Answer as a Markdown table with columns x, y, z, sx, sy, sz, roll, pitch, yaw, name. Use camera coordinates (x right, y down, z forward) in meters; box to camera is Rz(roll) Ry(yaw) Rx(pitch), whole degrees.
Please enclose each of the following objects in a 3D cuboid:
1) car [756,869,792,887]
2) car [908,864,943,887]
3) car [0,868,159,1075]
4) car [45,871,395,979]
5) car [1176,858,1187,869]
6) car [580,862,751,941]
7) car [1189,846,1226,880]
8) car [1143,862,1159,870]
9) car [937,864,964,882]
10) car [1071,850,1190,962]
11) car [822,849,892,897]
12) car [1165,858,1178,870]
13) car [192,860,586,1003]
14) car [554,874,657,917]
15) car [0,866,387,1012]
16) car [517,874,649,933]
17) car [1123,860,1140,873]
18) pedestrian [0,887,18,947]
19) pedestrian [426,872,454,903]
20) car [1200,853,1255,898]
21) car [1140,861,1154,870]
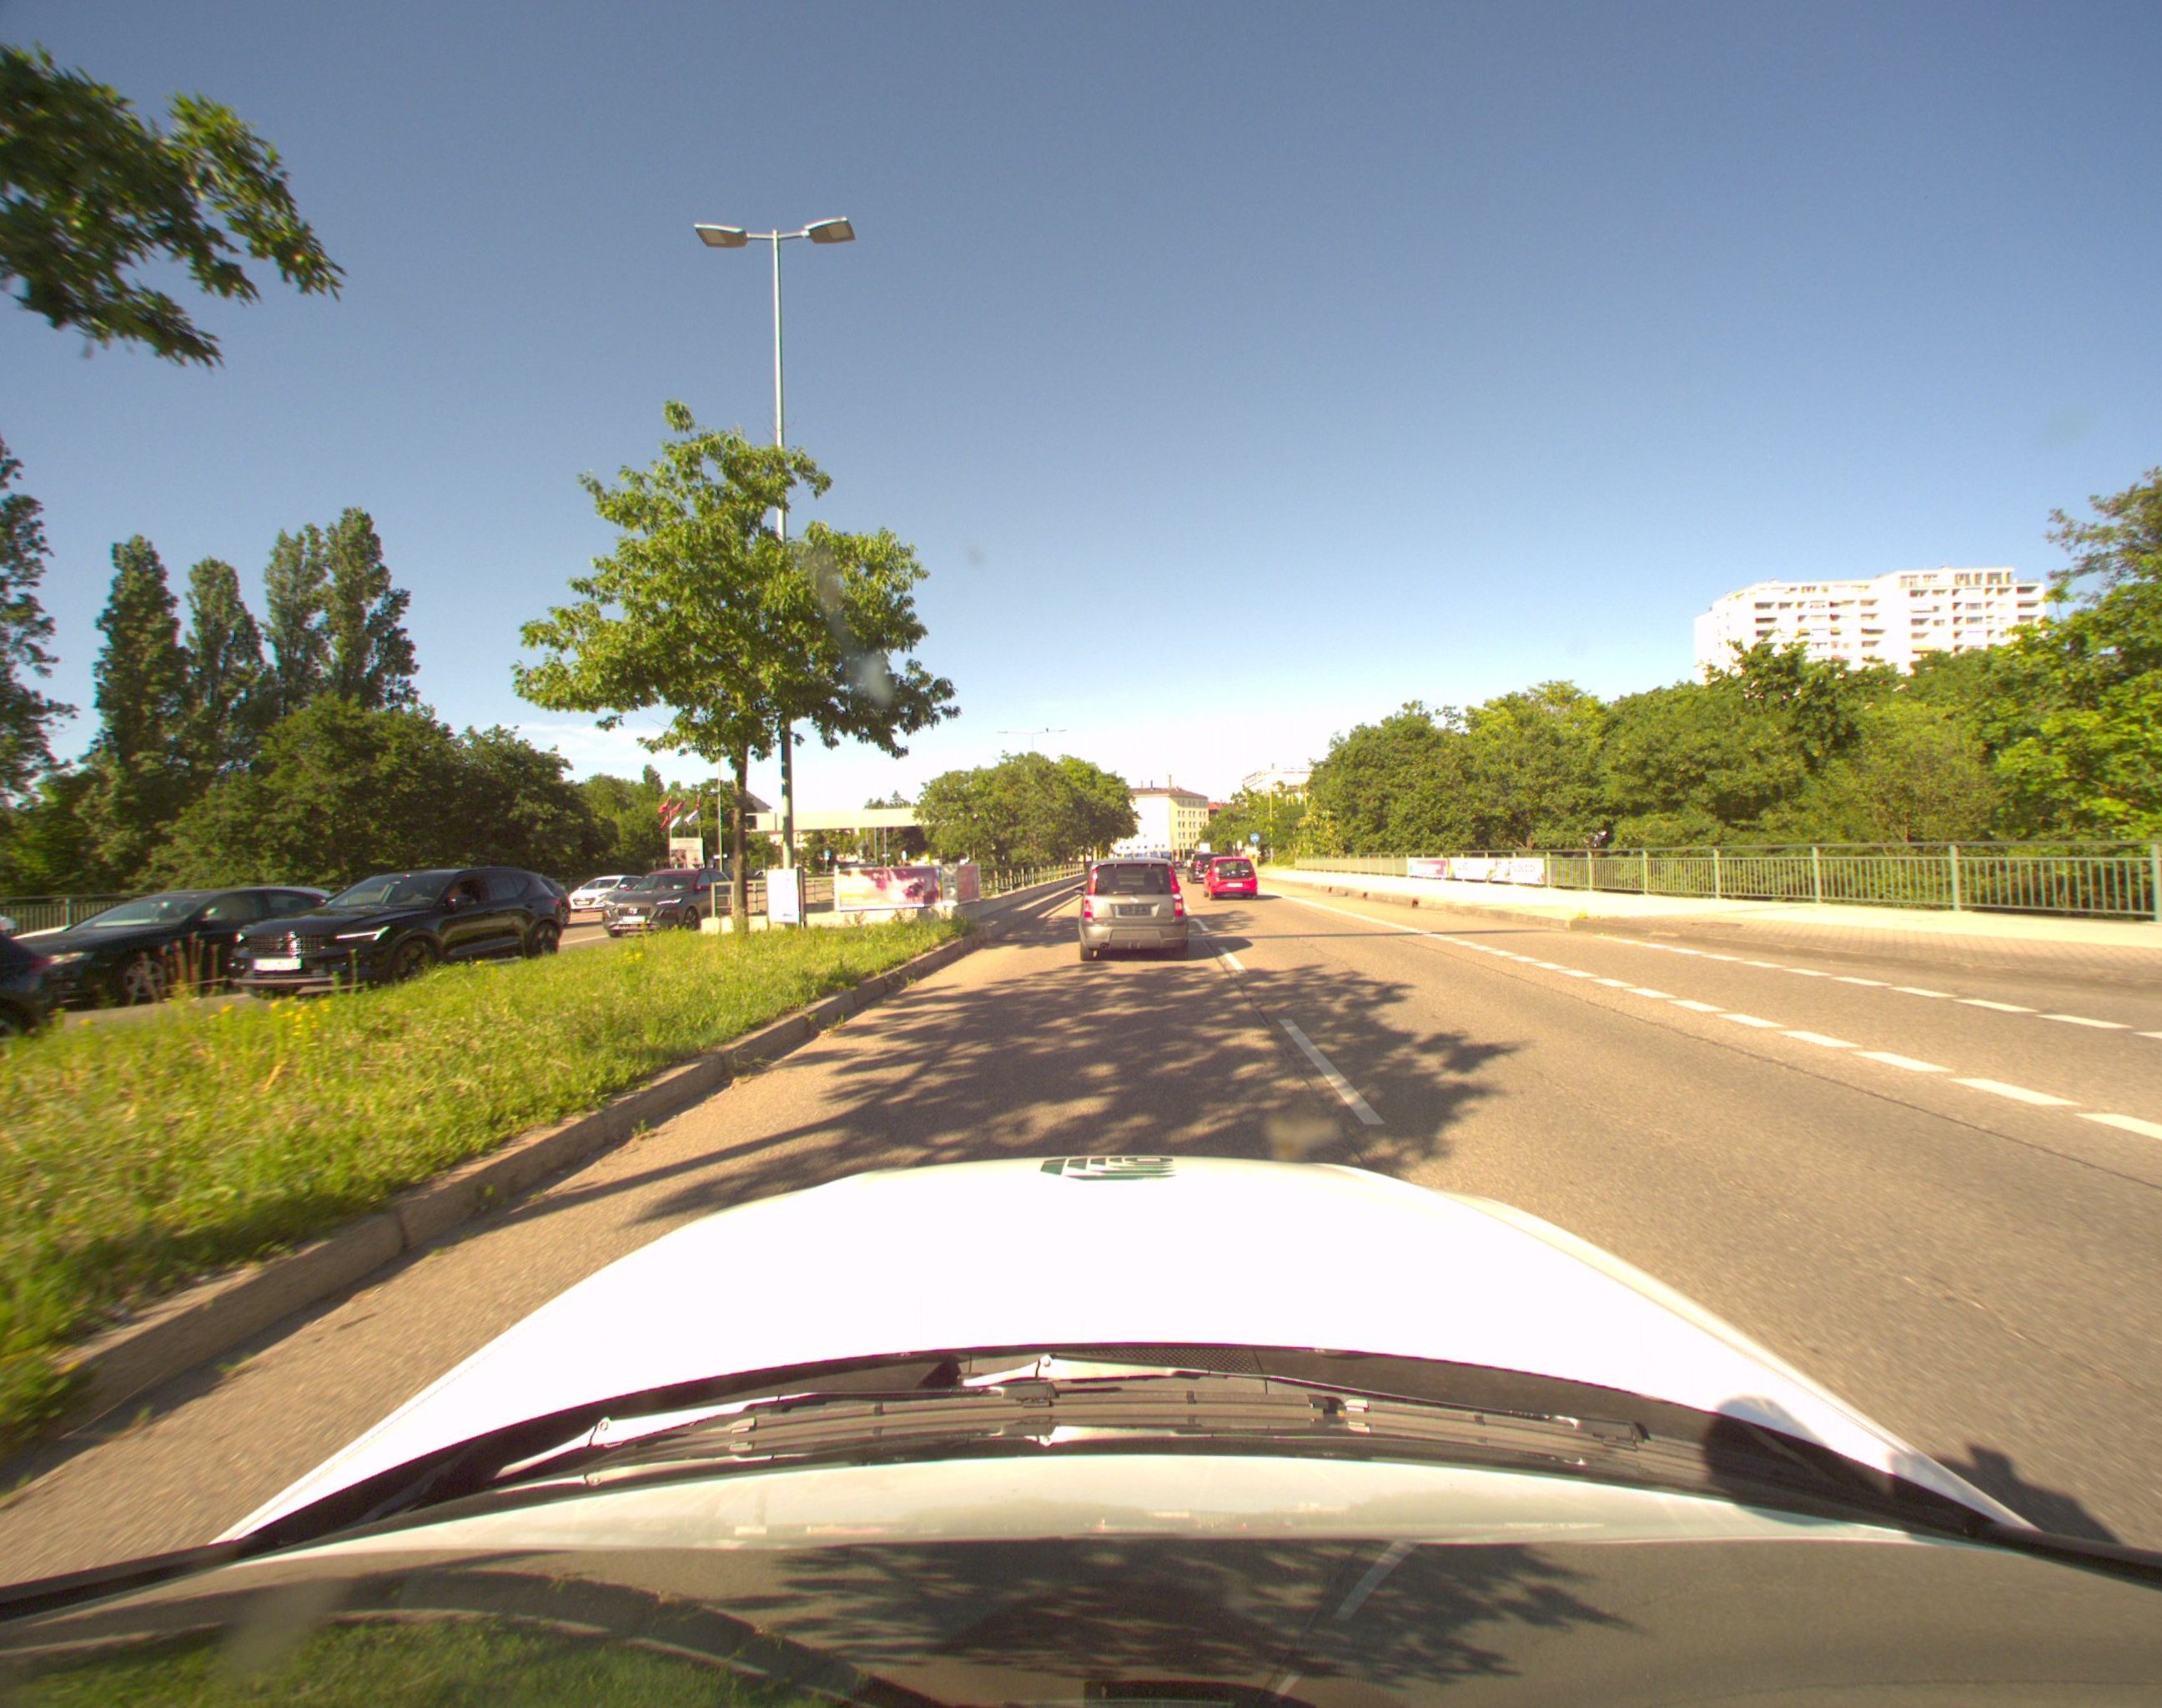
| x | y | z | sx | sy | sz | roll | pitch | yaw | name |
| --- | --- | --- | --- | --- | --- | --- | --- | --- | --- |
| -39.646 | 3.088 | 105.172 | 4.250 | 2.013 | 1.987 | -2 | -1 | -20 | car |
| -11.145 | 1.525 | 58.635 | 1.739 | 1.500 | 3.998 | -2 | 0 | -1 | car |
| -9.480 | 0.959 | 5.289 | 1.932 | 1.622 | 4.501 | -2 | 0 | -3 | car |
| -15.984 | 1.206 | 15.587 | 1.931 | 1.622 | 4.503 | -2 | 0 | -1 | car |
| 18.661 | 1.815 | 151.193 | 1.934 | 1.840 | 4.162 | -5 | -2 | 8 | car |
| -9.939 | 1.064 | 19.965 | 1.931 | 1.622 | 4.503 | -2 | 0 | -1 | car |
| 7.077 | 0.524 | 45.794 | 1.934 | 1.840 | 4.161 | 0 | -1 | 8 | car |
| 13.331 | 2.272 | 155.366 | 1.929 | 1.528 | 4.117 | -2 | 0 | 19 | car |
| -11.328 | 1.638 | 70.841 | 1.739 | 1.500 | 3.998 | -2 | 0 | -1 | car |
| 0.803 | 0.721 | 13.248 | 1.610 | 1.515 | 3.823 | -1 | 0 | 3 | car |
| -10.289 | 0.842 | 37.733 | 1.987 | 2.013 | 4.332 | -2 | 0 | -1 | car |
| 16.048 | 1.816 | 144.645 | 1.934 | 1.840 | 4.162 | -5 | -2 | 8 | car |
| -9.573 | 0.932 | 11.916 | 1.931 | 1.622 | 4.503 | -2 | 0 | -1 | car |
| -20.821 | 1.775 | 35.894 | 1.931 | 1.622 | 4.503 | -2 | 0 | -1 | car |
| -12.859 | 1.037 | 11.703 | 1.931 | 1.622 | 4.503 | -2 | 0 | -1 | car |
| -15.823 | 1.508 | 26.121 | 1.931 | 1.622 | 3.737 | -2 | 0 | -1 | car |
| 6.395 | 1.549 | 102.266 | 1.936 | 1.528 | 4.103 | -2 | 0 | 5 | car |
| -29.900 | 1.714 | 22.163 | 0.787 | 1.630 | 0.825 | -1 | -2 | 3 | pedestrian |
| -30.732 | 1.612 | 39.063 | 0.665 | 1.503 | 0.782 | -1 | -3 | 16 | pedestrian |
| 5.138 | 0.714 | 28.936 | 1.609 | 1.463 | 3.757 | -1 | 0 | 6 | car |
| 11.801 | 2.099 | 145.411 | 1.931 | 1.528 | 4.113 | -2 | 0 | 14 | car |
